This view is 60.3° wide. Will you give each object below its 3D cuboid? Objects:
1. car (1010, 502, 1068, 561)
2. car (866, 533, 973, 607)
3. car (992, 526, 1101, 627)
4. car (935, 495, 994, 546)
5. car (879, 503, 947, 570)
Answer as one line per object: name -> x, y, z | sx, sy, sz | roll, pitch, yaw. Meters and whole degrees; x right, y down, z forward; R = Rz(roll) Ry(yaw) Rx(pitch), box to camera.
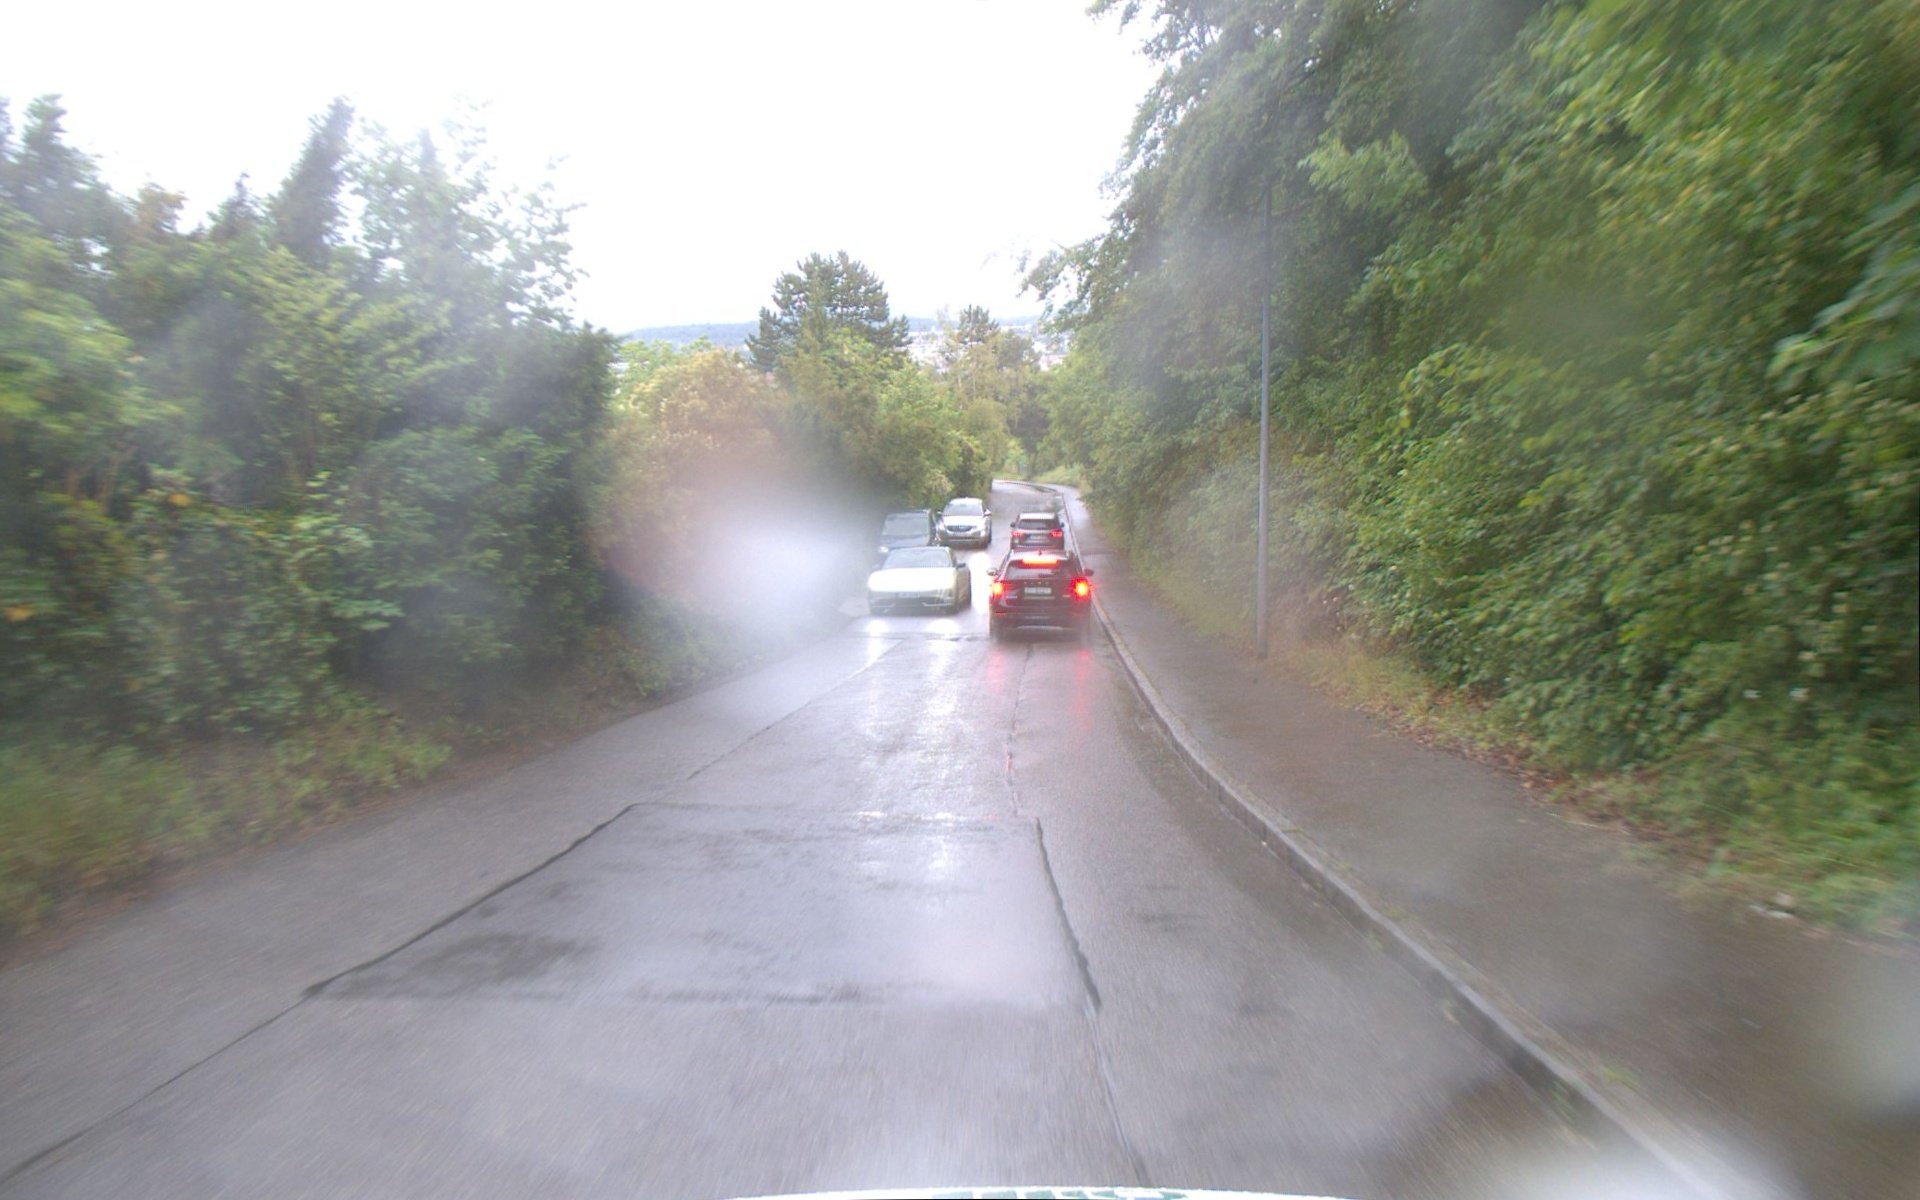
car -> 2.563, -2.208, 54.039 | 1.824, 1.773, 4.001 | 0, 0, 2
car -> -0.841, -0.647, 37.014 | 1.900, 1.549, 4.582 | 0, 0, 5
car -> 1.457, -0.474, 29.024 | 1.665, 1.475, 4.002 | -1, 5, 0
car -> 0.207, -2.956, 61.078 | 2.005, 1.628, 4.234 | 1, 6, 2
car -> -1.405, -2.002, 51.146 | 1.654, 1.813, 4.237 | -1, 5, 4
